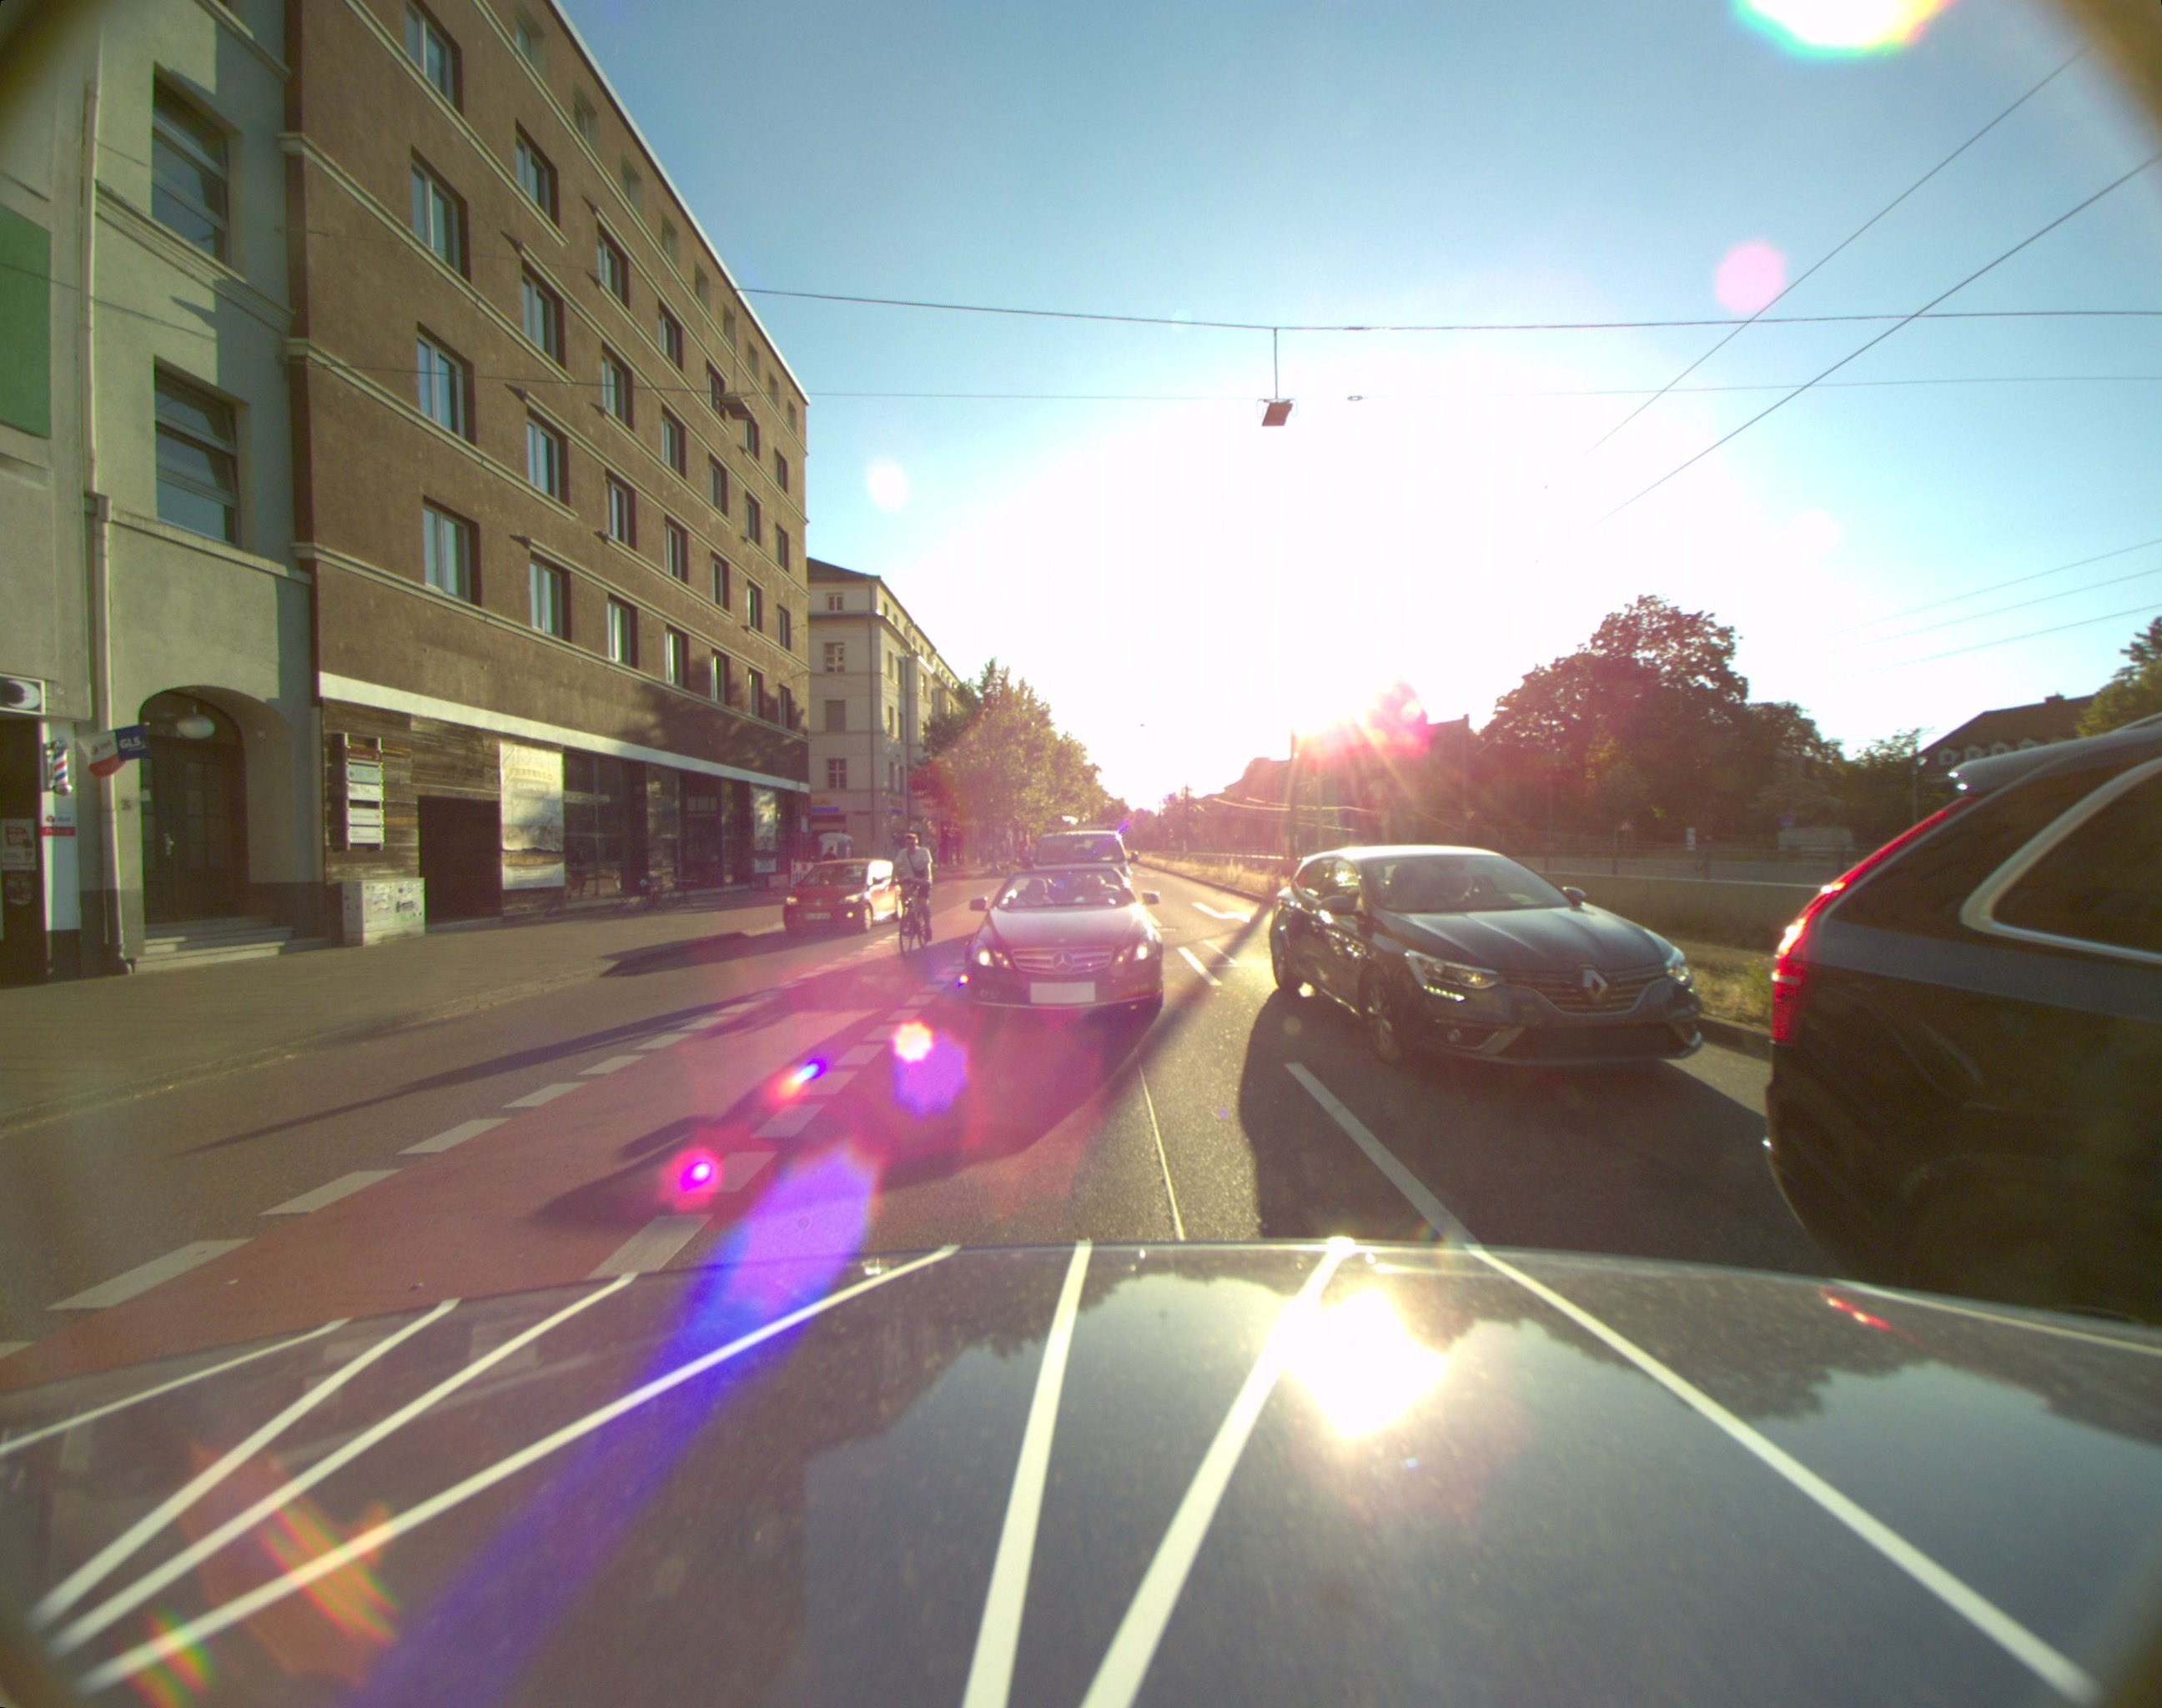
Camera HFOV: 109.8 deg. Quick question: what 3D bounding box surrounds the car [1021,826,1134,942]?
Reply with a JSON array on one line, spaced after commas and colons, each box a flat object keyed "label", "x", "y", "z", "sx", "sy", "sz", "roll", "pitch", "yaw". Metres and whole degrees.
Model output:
[{"label": "car", "x": -0.048, "y": 0.489, "z": 15.604, "sx": 1.920, "sy": 1.978, "sz": 4.946, "roll": -1, "pitch": 1, "yaw": 0}]

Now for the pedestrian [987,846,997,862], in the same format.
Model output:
[{"label": "pedestrian", "x": -7.891, "y": -0.003, "z": 67.255, "sx": 0.728, "sy": 1.431, "sz": 0.924, "roll": -1, "pitch": 1, "yaw": 0}]

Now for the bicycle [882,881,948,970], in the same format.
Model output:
[{"label": "bicycle", "x": -2.506, "y": 1.045, "z": 11.655, "sx": 0.530, "sy": 1.152, "sz": 1.849, "roll": -2, "pitch": 1, "yaw": 1}]

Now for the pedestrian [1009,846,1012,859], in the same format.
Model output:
[{"label": "pedestrian", "x": -8.289, "y": -0.177, "z": 89.200, "sx": 0.310, "sy": 1.431, "sz": 0.357, "roll": -1, "pitch": 1, "yaw": 9}]

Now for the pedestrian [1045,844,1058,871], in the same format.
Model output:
[{"label": "pedestrian", "x": -1.891, "y": 0.217, "z": 48.854, "sx": 0.679, "sy": 1.639, "sz": 0.901, "roll": -2, "pitch": 1, "yaw": 2}]

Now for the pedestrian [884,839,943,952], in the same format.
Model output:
[{"label": "pedestrian", "x": -2.548, "y": 0.609, "z": 11.642, "sx": 0.640, "sy": 1.639, "sz": 0.843, "roll": -2, "pitch": 1, "yaw": 1}]

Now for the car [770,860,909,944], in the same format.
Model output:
[{"label": "car", "x": -5.005, "y": 0.933, "z": 16.255, "sx": 1.687, "sy": 1.472, "sz": 3.539, "roll": -3, "pitch": 1, "yaw": 1}]

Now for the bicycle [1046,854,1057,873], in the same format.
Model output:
[{"label": "bicycle", "x": -1.882, "y": 0.570, "z": 48.811, "sx": 0.530, "sy": 1.152, "sz": 1.849, "roll": -2, "pitch": 1, "yaw": 2}]

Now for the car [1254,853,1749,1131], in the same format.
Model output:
[{"label": "car", "x": 2.774, "y": 0.767, "z": 6.157, "sx": 1.815, "sy": 1.393, "sz": 3.919, "roll": -3, "pitch": 1, "yaw": 1}]

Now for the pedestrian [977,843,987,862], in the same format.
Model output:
[{"label": "pedestrian", "x": -8.778, "y": -0.097, "z": 67.598, "sx": 0.728, "sy": 1.666, "sz": 0.924, "roll": -1, "pitch": 1, "yaw": 0}]

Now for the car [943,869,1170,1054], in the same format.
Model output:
[{"label": "car", "x": -0.186, "y": 0.899, "z": 8.165, "sx": 1.776, "sy": 1.300, "sz": 4.240, "roll": -1, "pitch": 1, "yaw": 0}]

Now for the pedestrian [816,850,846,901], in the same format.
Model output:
[{"label": "pedestrian", "x": -7.856, "y": 0.663, "z": 23.940, "sx": 0.603, "sy": 1.587, "sz": 0.884, "roll": -1, "pitch": 1, "yaw": 1}]
